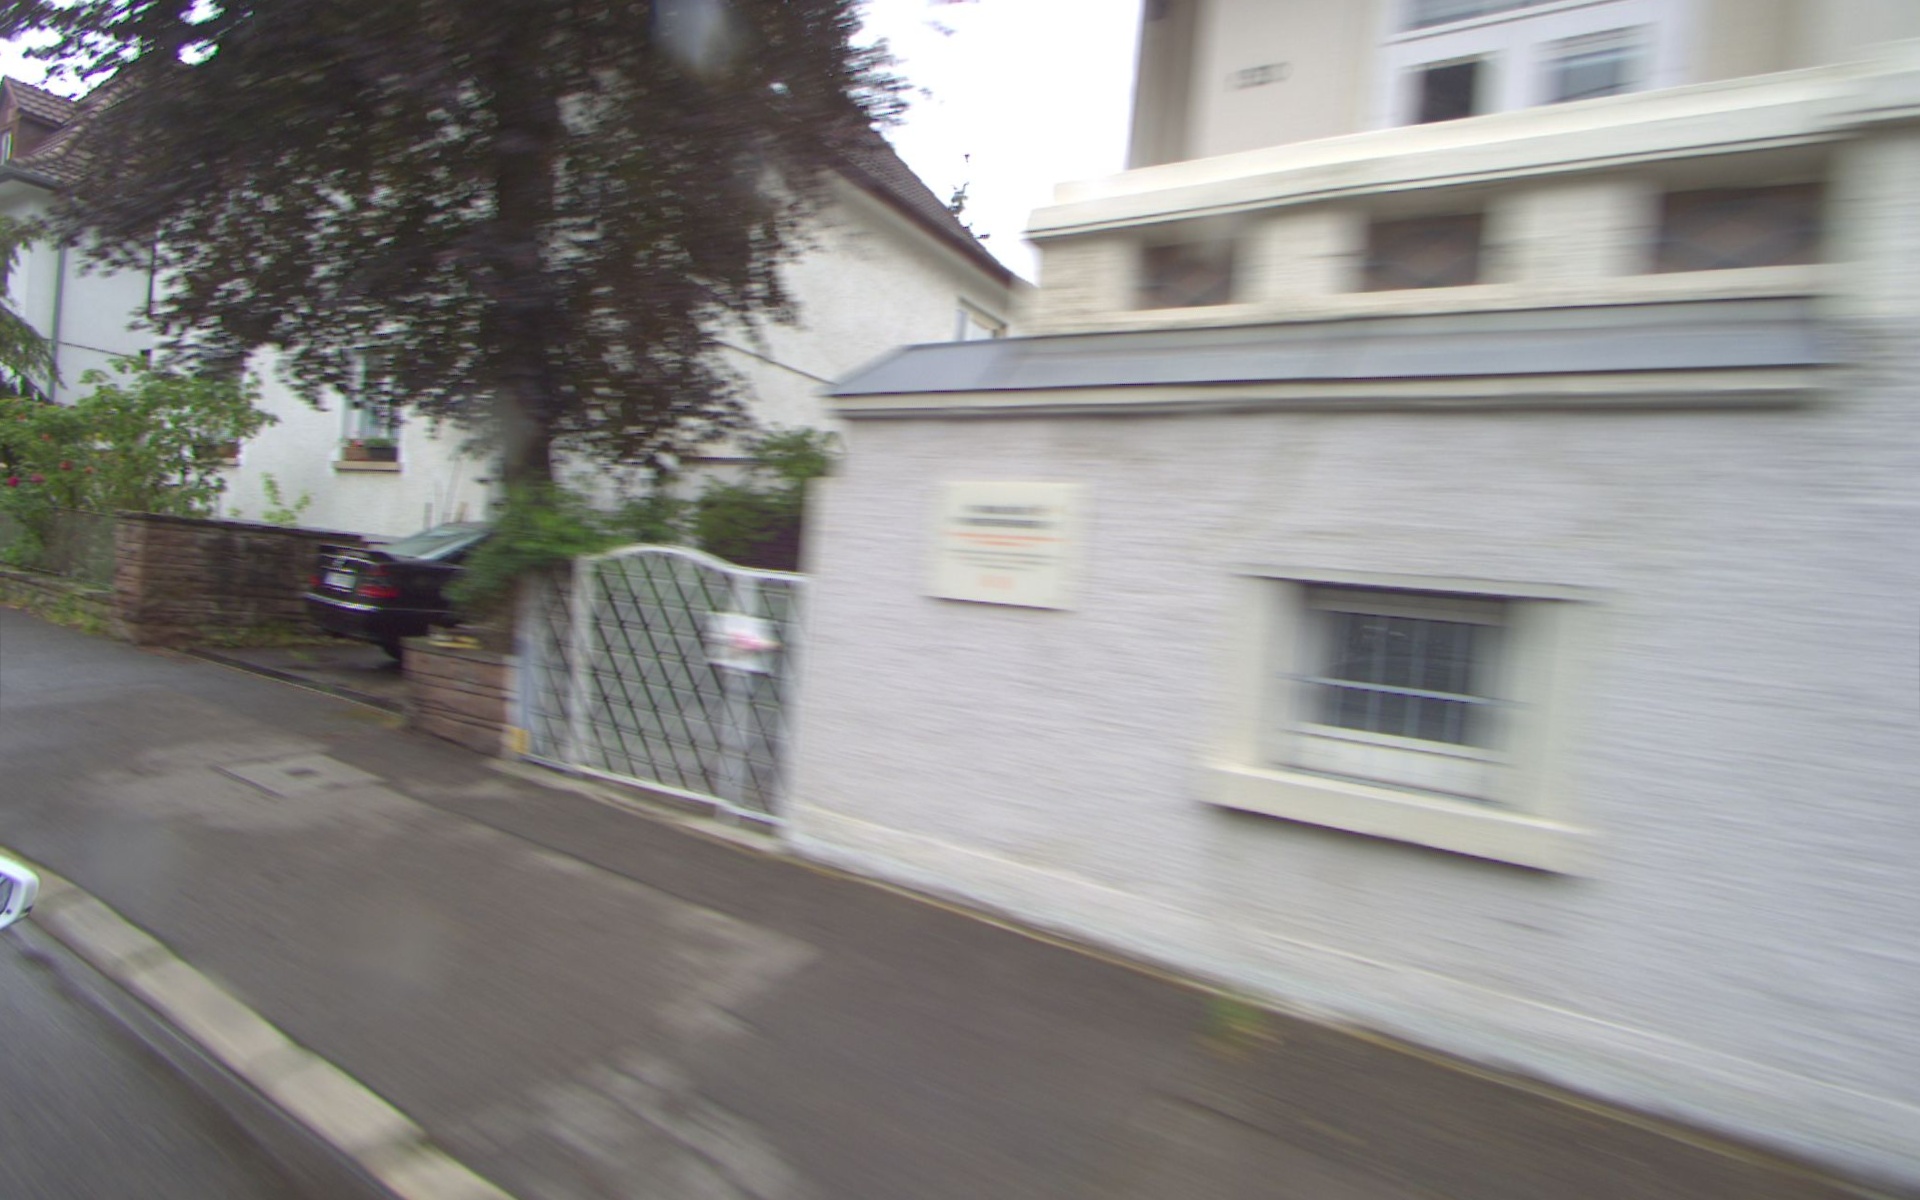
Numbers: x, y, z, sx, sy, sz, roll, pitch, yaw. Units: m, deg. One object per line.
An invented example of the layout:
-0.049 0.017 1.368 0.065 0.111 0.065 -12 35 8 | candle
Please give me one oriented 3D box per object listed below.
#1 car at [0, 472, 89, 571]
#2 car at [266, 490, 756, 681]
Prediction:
-18.674 -1.649 18.164 1.886 1.660 3.992 8 0 32 | car
-4.361 -0.011 10.378 1.947 1.503 4.147 2 -3 35 | car
